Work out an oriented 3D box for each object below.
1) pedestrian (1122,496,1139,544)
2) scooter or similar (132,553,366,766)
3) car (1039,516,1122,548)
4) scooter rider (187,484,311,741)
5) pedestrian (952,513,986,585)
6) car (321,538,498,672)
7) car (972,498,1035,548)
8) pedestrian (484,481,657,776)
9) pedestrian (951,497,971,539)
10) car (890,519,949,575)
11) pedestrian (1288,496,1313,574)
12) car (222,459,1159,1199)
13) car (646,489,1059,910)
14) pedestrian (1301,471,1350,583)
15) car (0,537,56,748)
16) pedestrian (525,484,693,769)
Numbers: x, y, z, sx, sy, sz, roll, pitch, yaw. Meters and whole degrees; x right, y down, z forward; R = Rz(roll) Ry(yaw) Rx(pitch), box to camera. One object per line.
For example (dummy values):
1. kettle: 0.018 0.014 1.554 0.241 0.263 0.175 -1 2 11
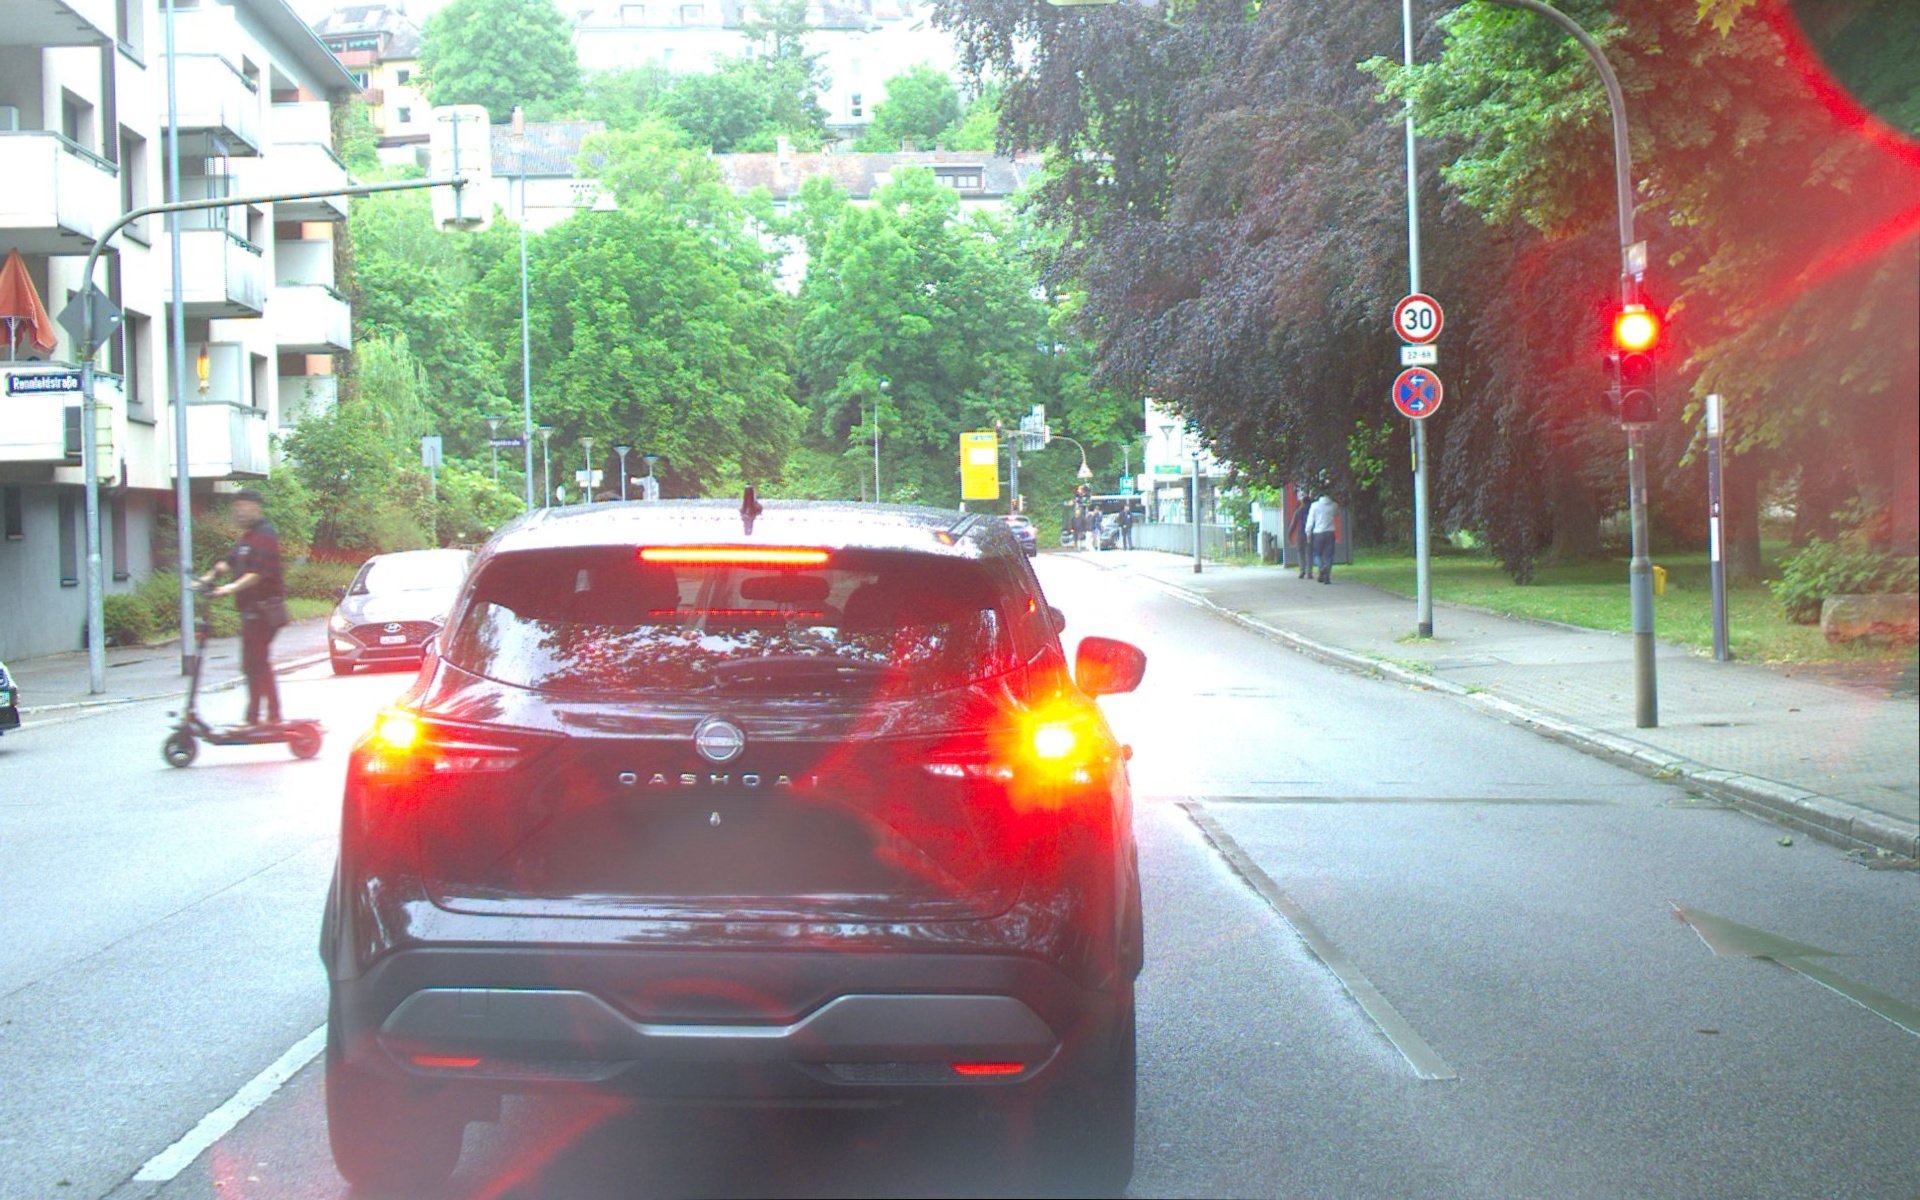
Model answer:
1. pedestrian: 6.438 -3.009 129.886 0.508 1.795 0.619 -2 1 -2
2. scooter or similar: -4.972 0.409 24.102 1.394 1.441 0.817 -1 0 6
3. car: 6.257 -3.540 178.904 3.953 1.527 1.640 -2 1 -17
4. scooter rider: -4.967 0.085 24.047 0.643 1.760 0.735 -1 0 4
5. pedestrian: 0.226 -1.301 87.149 0.618 1.795 0.509 -1 1 27
6. car: -6.841 0.026 43.063 1.795 1.528 3.868 -2 1 -4
7. car: 1.585 -2.748 124.085 1.994 1.729 3.999 1 1 4
8. pedestrian: -2.538 0.173 22.368 1.035 1.869 0.658 -1 1 -11
9. pedestrian: 0.044 -3.277 137.142 0.509 1.667 0.658 -1 1 27
10. car: -1.184 -1.569 100.556 1.634 1.527 3.968 -2 1 -1
11. pedestrian: 6.631 -1.272 66.985 0.390 1.497 0.559 -2 1 0
12. car: -0.569 0.508 9.034 1.913 1.674 4.000 0 1 0
13. car: -0.477 0.386 16.496 1.698 1.739 3.641 -2 1 -1
14. pedestrian: 6.635 -1.329 62.442 0.725 2.007 0.851 -2 1 0
15. car: -9.472 0.404 27.007 4.126 1.620 1.851 -2 1 11
16. pedestrian: -2.366 0.166 23.120 1.035 1.869 0.658 -1 1 -11
